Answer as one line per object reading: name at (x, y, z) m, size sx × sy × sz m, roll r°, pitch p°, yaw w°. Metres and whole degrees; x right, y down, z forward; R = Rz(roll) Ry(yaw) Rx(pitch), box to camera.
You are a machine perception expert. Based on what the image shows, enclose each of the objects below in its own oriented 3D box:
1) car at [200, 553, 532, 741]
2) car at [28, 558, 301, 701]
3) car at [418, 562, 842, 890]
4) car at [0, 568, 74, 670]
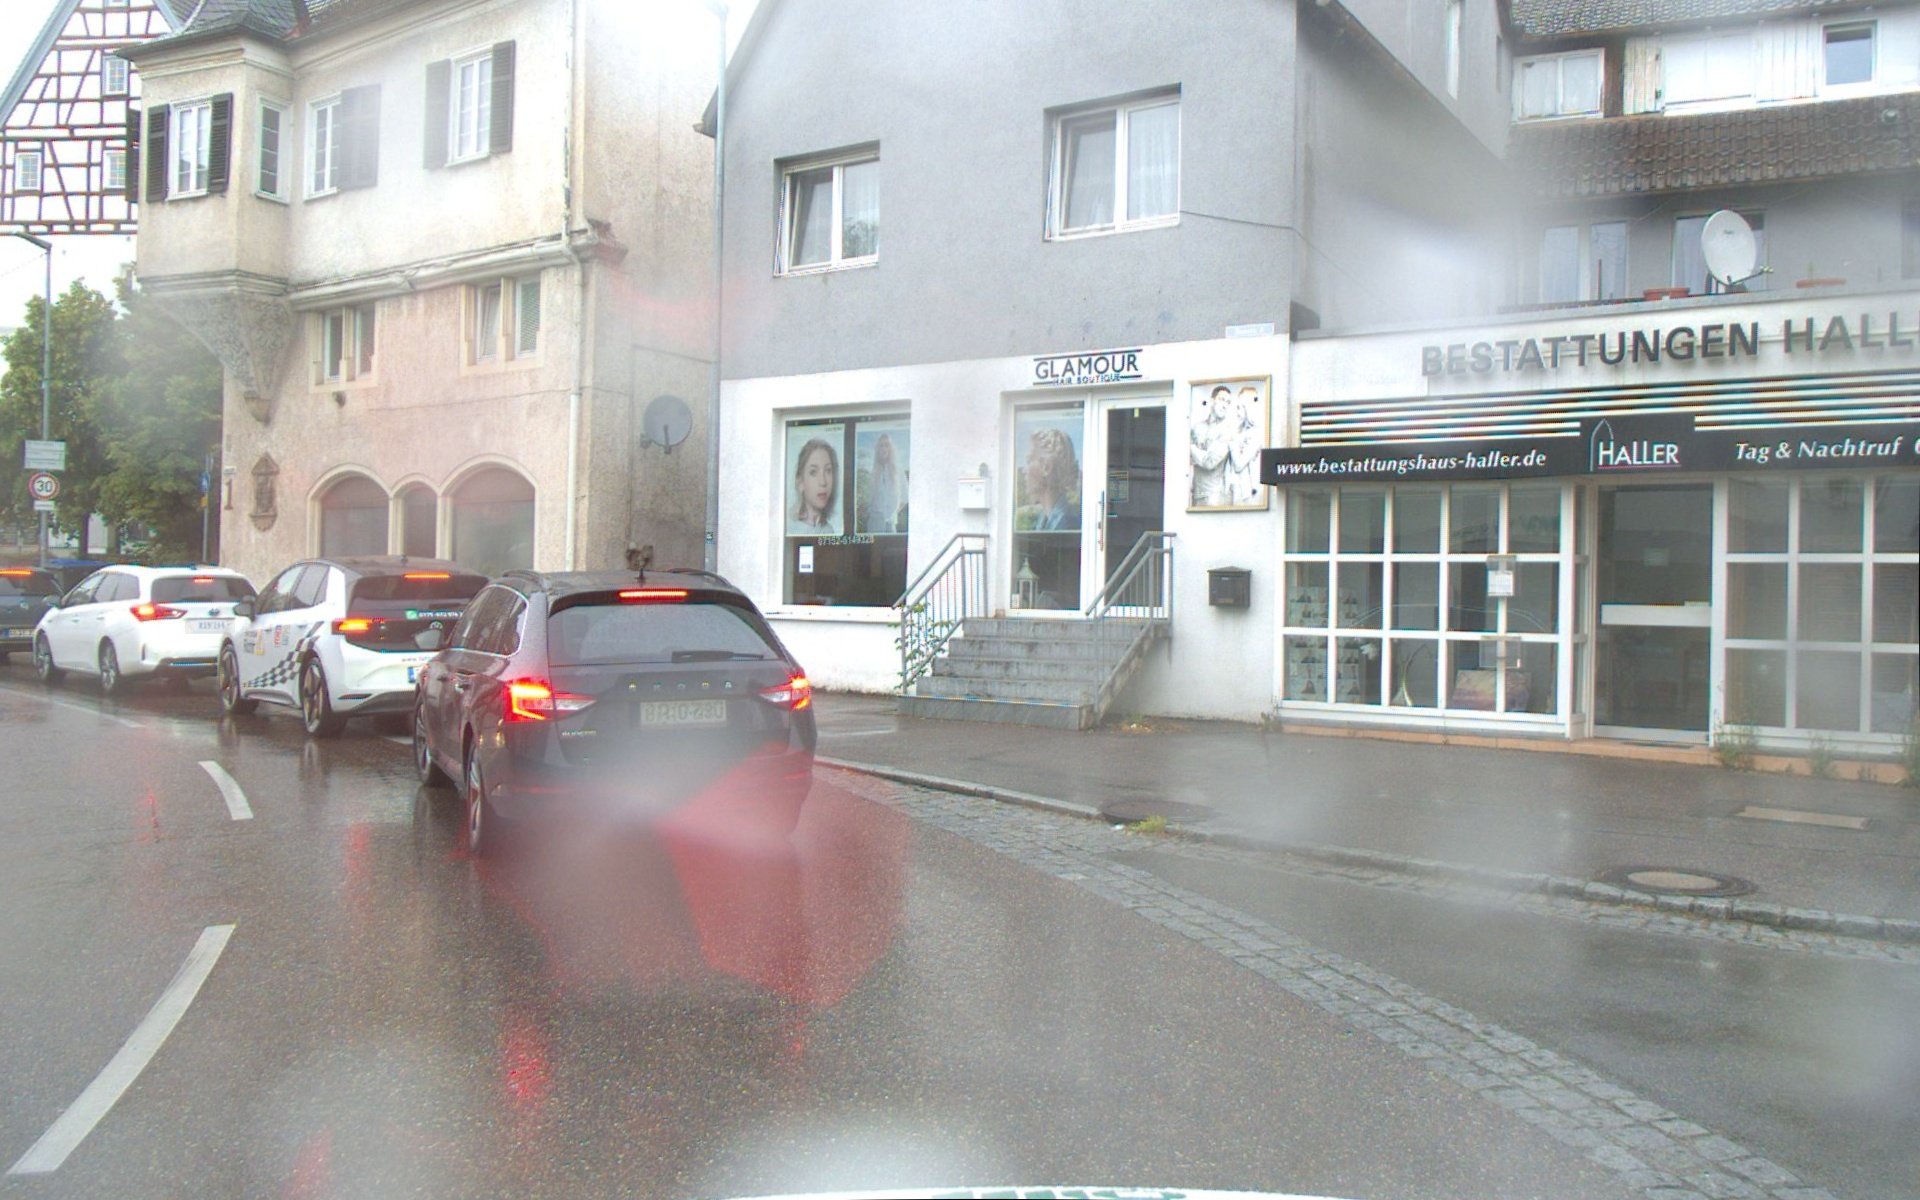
car at (-5.781, 0.342, 15.789) m, size 1.777 × 1.543 × 4.183 m, roll -1°, pitch 1°, yaw -38°
car at (-9.739, 0.274, 20.107) m, size 1.778 × 1.490 × 4.096 m, roll -1°, pitch 3°, yaw -44°
car at (-2.190, 0.537, 9.947) m, size 1.709 × 1.475 × 4.212 m, roll 0°, pitch 2°, yaw -23°
car at (-14.875, 0.241, 24.965) m, size 3.701 × 1.385 × 1.514 m, roll 2°, pitch 3°, yaw 42°
